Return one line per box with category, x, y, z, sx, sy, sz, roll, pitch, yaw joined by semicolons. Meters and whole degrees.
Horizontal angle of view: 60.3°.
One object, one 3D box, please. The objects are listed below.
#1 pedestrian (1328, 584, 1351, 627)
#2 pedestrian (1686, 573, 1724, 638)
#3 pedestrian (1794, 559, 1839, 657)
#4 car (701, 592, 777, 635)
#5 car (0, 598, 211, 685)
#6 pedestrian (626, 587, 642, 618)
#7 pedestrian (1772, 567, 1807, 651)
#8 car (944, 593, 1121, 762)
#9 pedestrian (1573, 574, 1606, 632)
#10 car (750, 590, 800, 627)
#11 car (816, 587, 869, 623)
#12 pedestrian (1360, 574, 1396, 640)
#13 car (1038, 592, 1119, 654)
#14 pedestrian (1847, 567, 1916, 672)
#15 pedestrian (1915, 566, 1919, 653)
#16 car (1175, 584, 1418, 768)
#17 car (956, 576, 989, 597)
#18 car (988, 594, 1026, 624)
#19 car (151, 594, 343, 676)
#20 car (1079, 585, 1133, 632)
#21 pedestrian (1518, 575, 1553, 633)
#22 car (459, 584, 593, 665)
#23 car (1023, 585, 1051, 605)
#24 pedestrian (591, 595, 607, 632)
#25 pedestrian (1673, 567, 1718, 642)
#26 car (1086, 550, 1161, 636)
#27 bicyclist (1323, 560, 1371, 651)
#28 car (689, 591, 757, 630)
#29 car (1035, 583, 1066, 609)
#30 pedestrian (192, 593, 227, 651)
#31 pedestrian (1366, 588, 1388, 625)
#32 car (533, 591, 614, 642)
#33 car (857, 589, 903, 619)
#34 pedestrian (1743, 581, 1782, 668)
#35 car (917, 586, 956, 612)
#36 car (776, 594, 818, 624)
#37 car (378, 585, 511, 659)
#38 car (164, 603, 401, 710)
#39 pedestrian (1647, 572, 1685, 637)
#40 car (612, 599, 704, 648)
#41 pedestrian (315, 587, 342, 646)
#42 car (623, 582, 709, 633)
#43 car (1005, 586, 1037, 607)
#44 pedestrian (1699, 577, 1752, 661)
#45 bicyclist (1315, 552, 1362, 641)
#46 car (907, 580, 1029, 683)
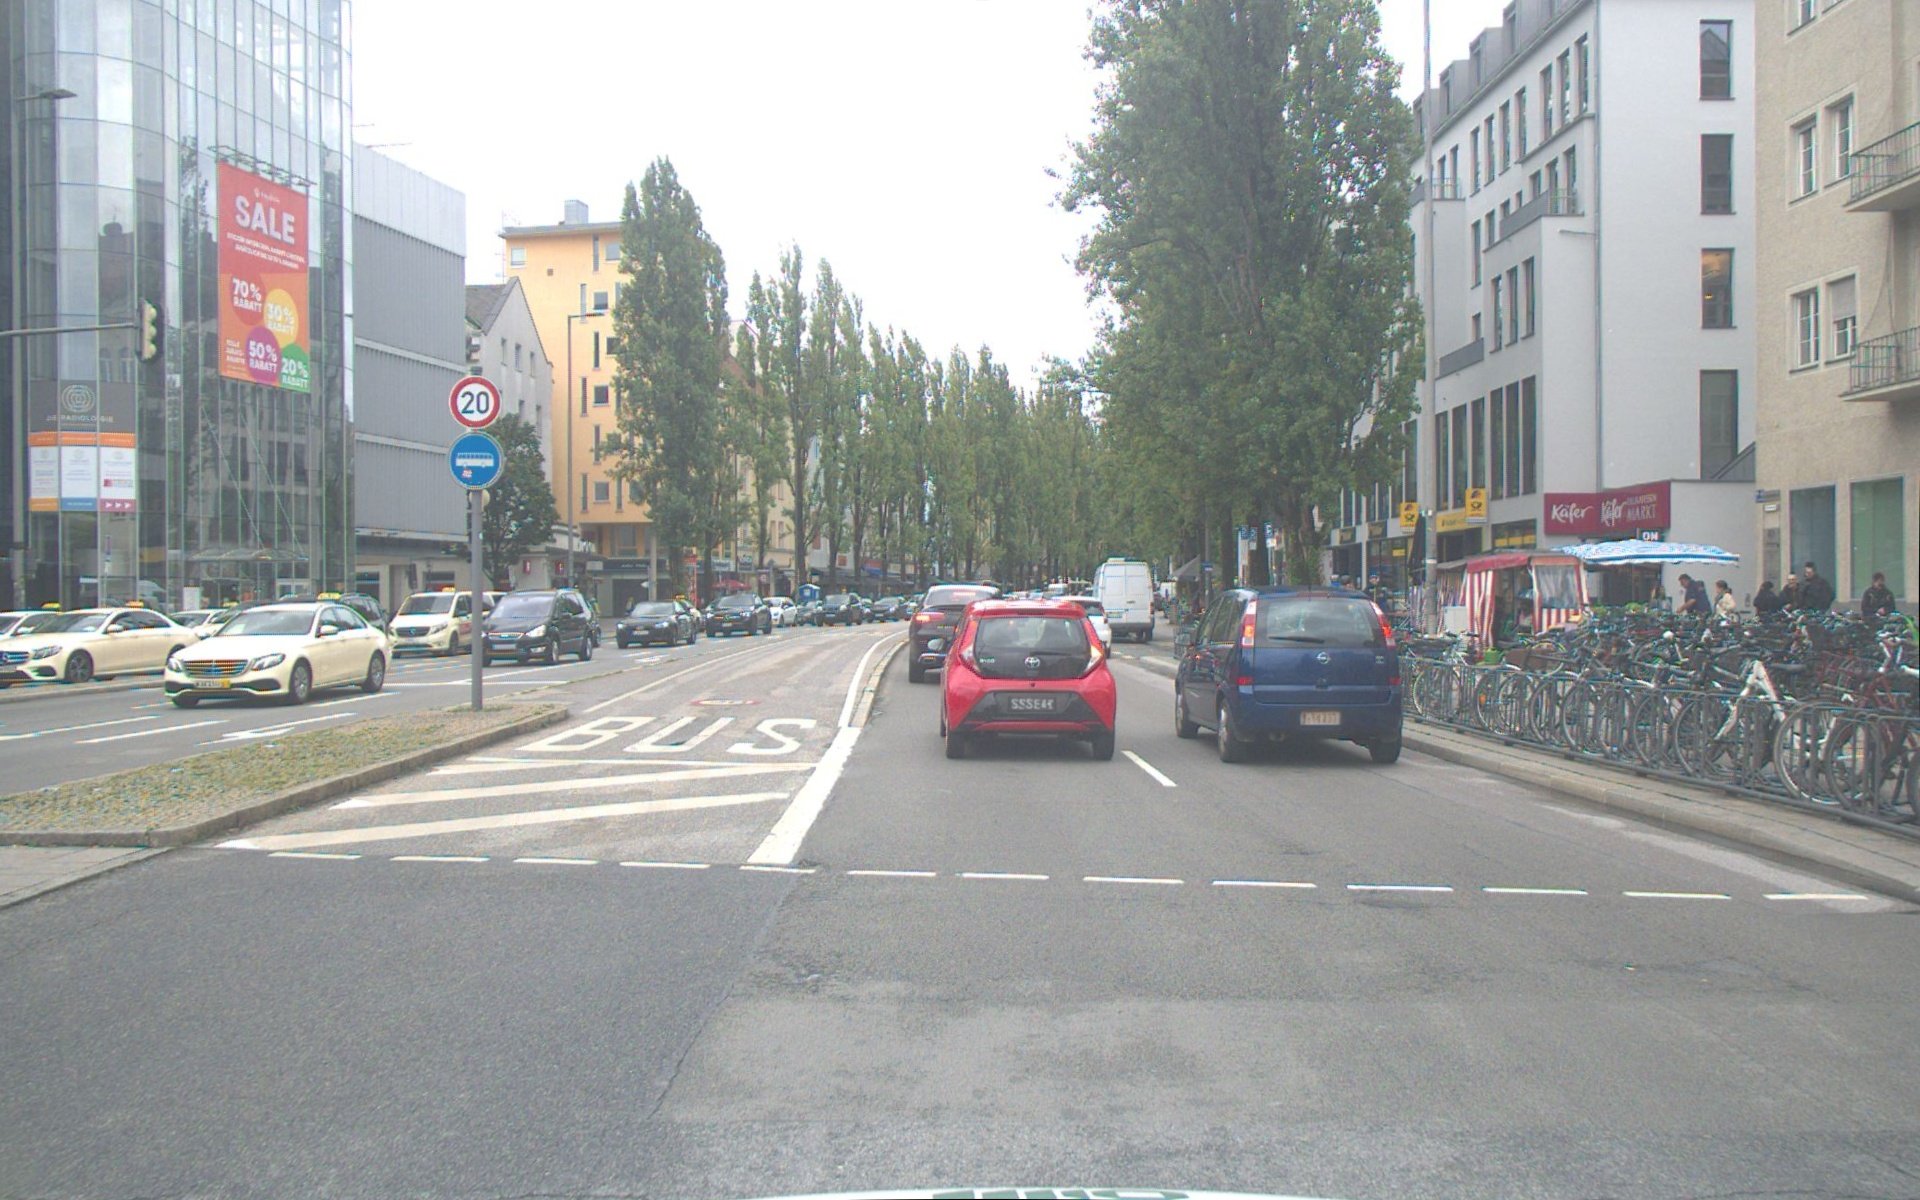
pedestrian;14.197;0.196;61.848;0.698;1.585;0.676;-1;0;-1
pedestrian;16.680;0.113;37.048;0.563;1.427;0.580;-1;0;-1
pedestrian;15.004;0.134;28.969;0.590;1.699;0.683;-1;0;35
car;-8.471;0.485;63.718;1.951;1.561;4.590;-1;0;4
car;-16.947;0.753;32.365;1.951;1.534;4.639;-1;0;8
pedestrian;-19.511;0.129;98.927;0.673;1.842;0.766;-1;0;11
pedestrian;15.057;0.155;30.033;0.497;1.510;0.463;-1;0;35
car;0.662;0.690;16.423;1.572;1.487;3.130;-1;0;0
pedestrian;15.712;0.076;41.267;0.586;1.427;0.580;-1;0;-1
car;-9.643;0.439;86.390;1.817;1.847;4.002;1;0;5
car;-6.037;0.247;85.423;1.952;1.721;4.924;2;0;5
pedestrian;11.382;0.194;45.042;0.774;1.758;0.764;-1;0;-1
car;2.890;0.540;40.885;1.665;1.451;3.496;-1;0;-1
pedestrian;15.950;0.330;28.647;0.727;1.758;0.758;-2;0;-1
pedestrian;18.657;0.177;31.454;0.628;1.673;0.562;-1;0;-1
car;3.218;0.660;16.469;1.668;1.617;3.556;1;0;0
car;1.071;-1.176;141.169;1.951;1.721;4.418;-1;0;12
car;2.417;0.429;84.301;1.735;1.464;3.941;-1;1;5
car;-16.183;0.748;37.791;1.951;1.708;4.187;-1;0;12
car;5.471;0.301;62.189;1.668;1.691;3.556;0;0;-1
pedestrian;16.380;0.100;47.068;0.717;1.630;0.742;-1;0;-1
car;-10.092;0.520;38.838;1.897;1.769;4.588;-1;0;0
car;7.086;-0.467;151.952;1.951;1.721;4.418;-1;0;12
pedestrian;-19.496;0.725;89.352;0.673;2.032;0.765;-1;0;-2
pedestrian;14.474;0.079;32.541;0.603;1.450;0.659;-1;0;4
car;5.505;-0.231;56.113;2.063;2.766;4.804;-1;0;0
bicyclist;7.416;0.097;31.705;0.601;1.686;1.251;-1;0;0
car;-10.721;0.440;75.214;1.951;1.637;4.536;-1;1;6
car;6.538;-0.296;119.096;1.951;1.870;4.003;-1;0;6
pedestrian;-22.263;0.648;49.060;0.637;1.721;0.712;-1;0;12
pedestrian;14.983;0.235;59.440;0.625;1.329;0.676;-1;0;-1
car;-12.400;0.496;53.221;1.590;1.579;3.386;-1;0;4
car;-4.744;0.211;98.972;1.951;1.721;4.924;-1;0;6
pedestrian;14.321;0.434;29.516;0.568;1.531;0.615;-1;0;31
car;-1.528;-0.082;110.007;1.951;1.721;4.925;-1;0;6
car;-8.971;0.497;91.223;1.709;1.598;3.494;-1;0;5
car;-15.391;0.598;49.711;1.952;2.049;5.526;-1;1;4
car;-10.252;0.794;25.442;1.729;1.446;4.639;-1;0;0
pedestrian;15.808;0.103;37.061;0.586;1.427;0.580;-1;0;-1
car;-9.480;0.709;52.189;1.806;1.406;4.603;-1;0;3
pedestrian;-19.920;0.507;52.157;0.545;1.849;0.628;-1;0;10
car;-12.196;0.289;68.895;1.951;1.847;4.538;-3;1;11
car;5.302;-0.312;143.196;1.951;1.721;4.418;-1;0;12
pedestrian;14.422;0.359;31.163;0.794;1.548;0.798;-1;0;33
bicyclist;8.215;-0.080;35.949;0.747;1.902;1.133;-1;0;0
car;0.096;0.492;28.600;1.953;1.646;3.999;-1;0;-1
